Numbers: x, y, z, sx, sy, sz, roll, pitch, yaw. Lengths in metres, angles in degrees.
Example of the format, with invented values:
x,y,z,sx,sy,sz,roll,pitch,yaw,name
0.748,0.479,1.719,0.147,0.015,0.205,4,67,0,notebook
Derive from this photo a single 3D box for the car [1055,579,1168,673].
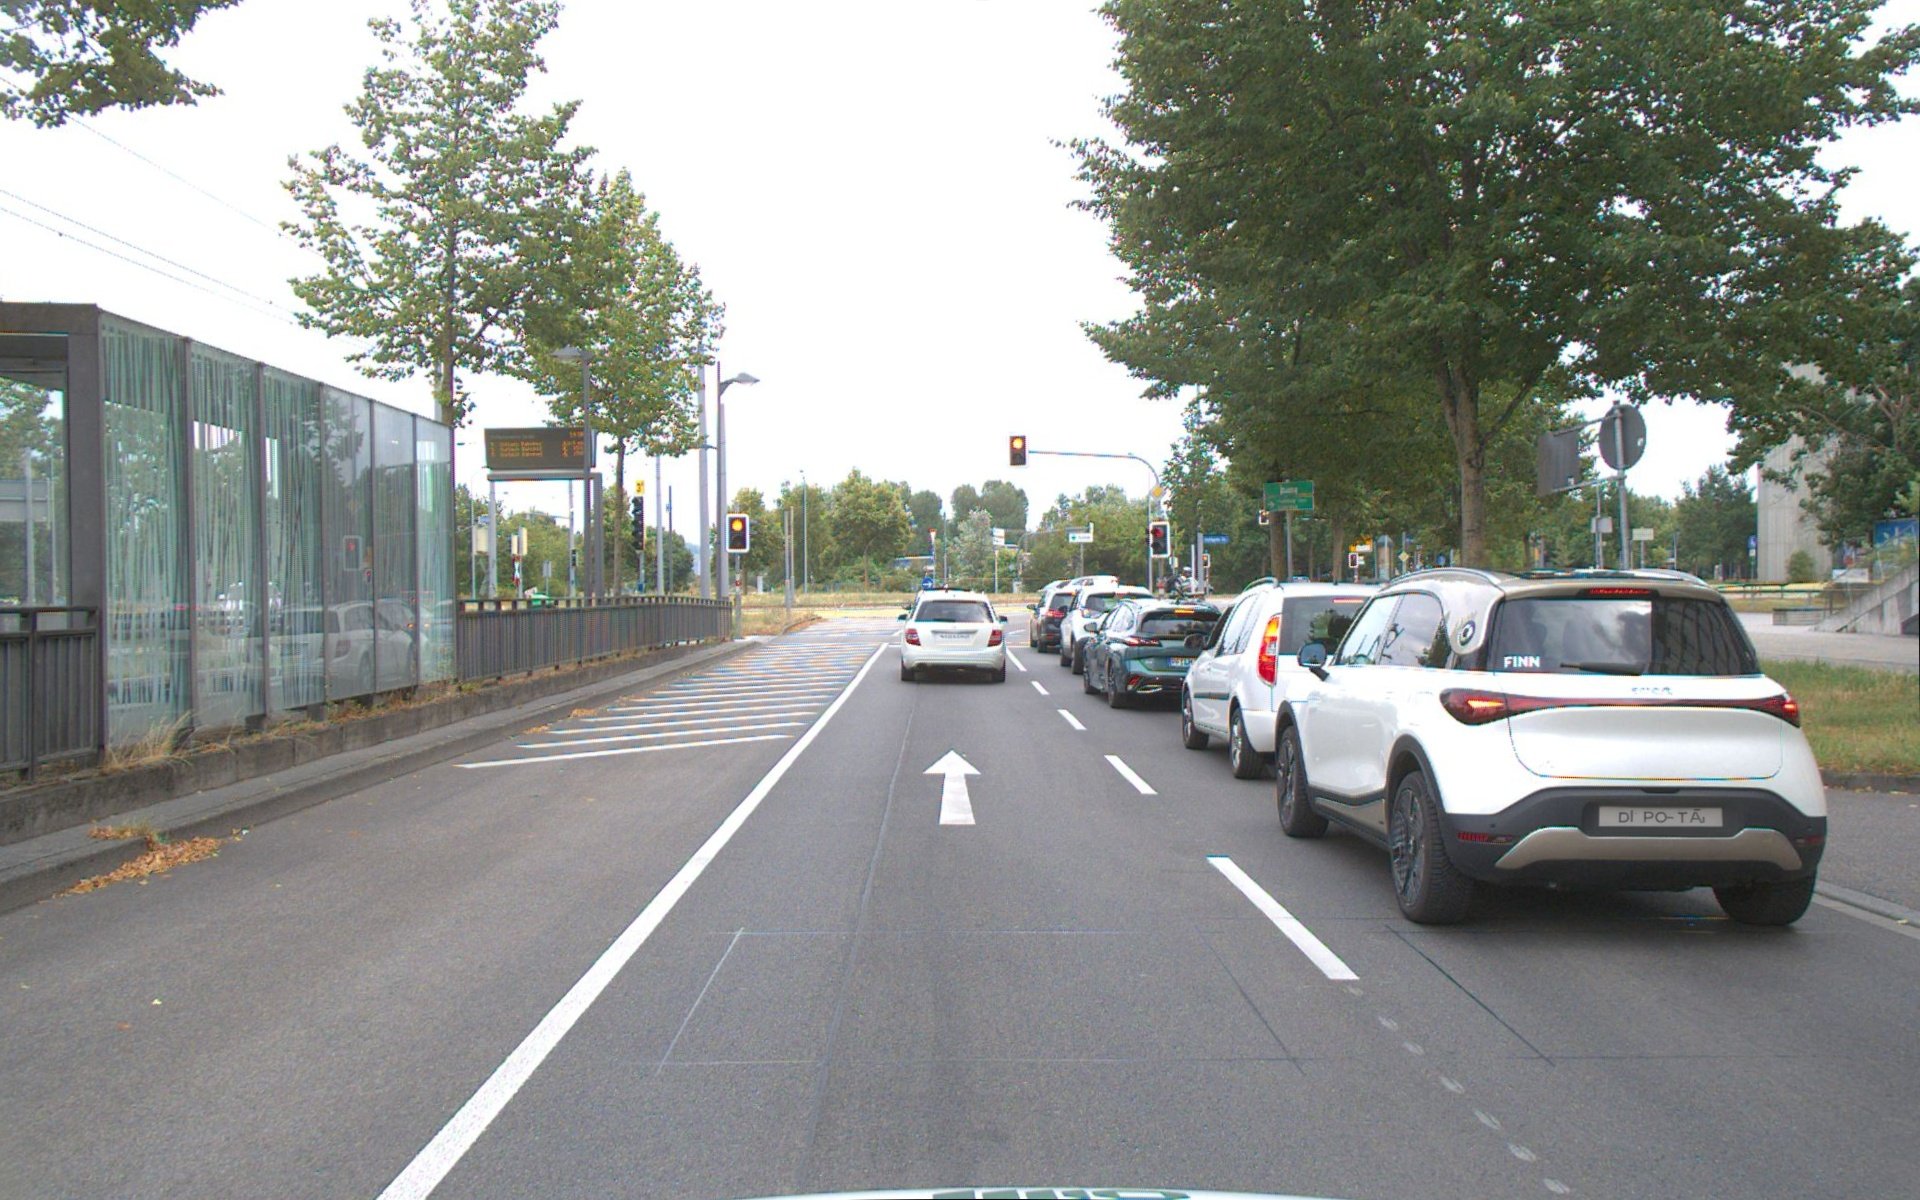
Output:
x,y,z,sx,sy,sz,roll,pitch,yaw,name
2.811,0.439,31.389,1.751,1.653,3.910,-1,1,0,car

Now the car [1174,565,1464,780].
x,y,z,sx,sy,sz,roll,pitch,yaw,name
3.119,0.560,15.179,1.742,1.685,4.023,-1,1,-1,car

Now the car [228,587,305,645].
x,y,z,sx,sy,sz,roll,pitch,yaw,name
-21.113,0.457,50.479,1.965,1.646,4.357,-1,1,-21,car

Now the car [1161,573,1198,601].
x,y,z,sx,sy,sz,roll,pitch,yaw,name
14.978,-0.891,113.022,1.952,1.822,4.000,2,0,1,car

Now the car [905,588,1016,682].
x,y,z,sx,sy,sz,roll,pitch,yaw,name
-0.058,0.547,28.223,1.738,1.474,3.909,1,0,-2,car

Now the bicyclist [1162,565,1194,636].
x,y,z,sx,sy,sz,roll,pitch,yaw,name
5.934,0.009,45.037,0.714,1.918,0.734,-1,2,-3,bicyclist

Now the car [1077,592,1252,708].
x,y,z,sx,sy,sz,roll,pitch,yaw,name
2.785,0.628,23.398,1.751,1.457,4.309,0,0,-3,car

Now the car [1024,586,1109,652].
x,y,z,sx,sy,sz,roll,pitch,yaw,name
2.485,0.423,39.265,1.592,1.474,3.909,1,0,-2,car

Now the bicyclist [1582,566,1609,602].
x,y,z,sx,sy,sz,roll,pitch,yaw,name
32.128,-0.810,83.663,0.849,1.820,1.174,-1,0,-2,bicyclist

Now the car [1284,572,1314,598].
x,y,z,sx,sy,sz,roll,pitch,yaw,name
21.966,-0.962,107.270,1.745,1.664,4.406,-1,0,9,car

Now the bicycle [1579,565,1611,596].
x,y,z,sx,sy,sz,roll,pitch,yaw,name
32.112,-0.982,83.658,0.691,1.532,2.006,1,0,-4,bicycle

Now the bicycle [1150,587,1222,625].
x,y,z,sx,sy,sz,roll,pitch,yaw,name
6.153,0.163,45.058,1.895,1.001,0.564,-1,0,-2,bicycle

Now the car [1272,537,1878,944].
x,y,z,sx,sy,sz,roll,pitch,yaw,name
2.972,0.573,8.979,1.742,1.685,4.023,1,1,-1,car

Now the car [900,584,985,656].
x,y,z,sx,sy,sz,roll,pitch,yaw,name
-0.441,0.402,36.403,1.738,1.474,3.909,1,0,-2,car

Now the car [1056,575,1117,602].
x,y,z,sx,sy,sz,roll,pitch,yaw,name
9.827,-0.921,128.164,4.960,2.049,1.968,-1,1,-44,car
